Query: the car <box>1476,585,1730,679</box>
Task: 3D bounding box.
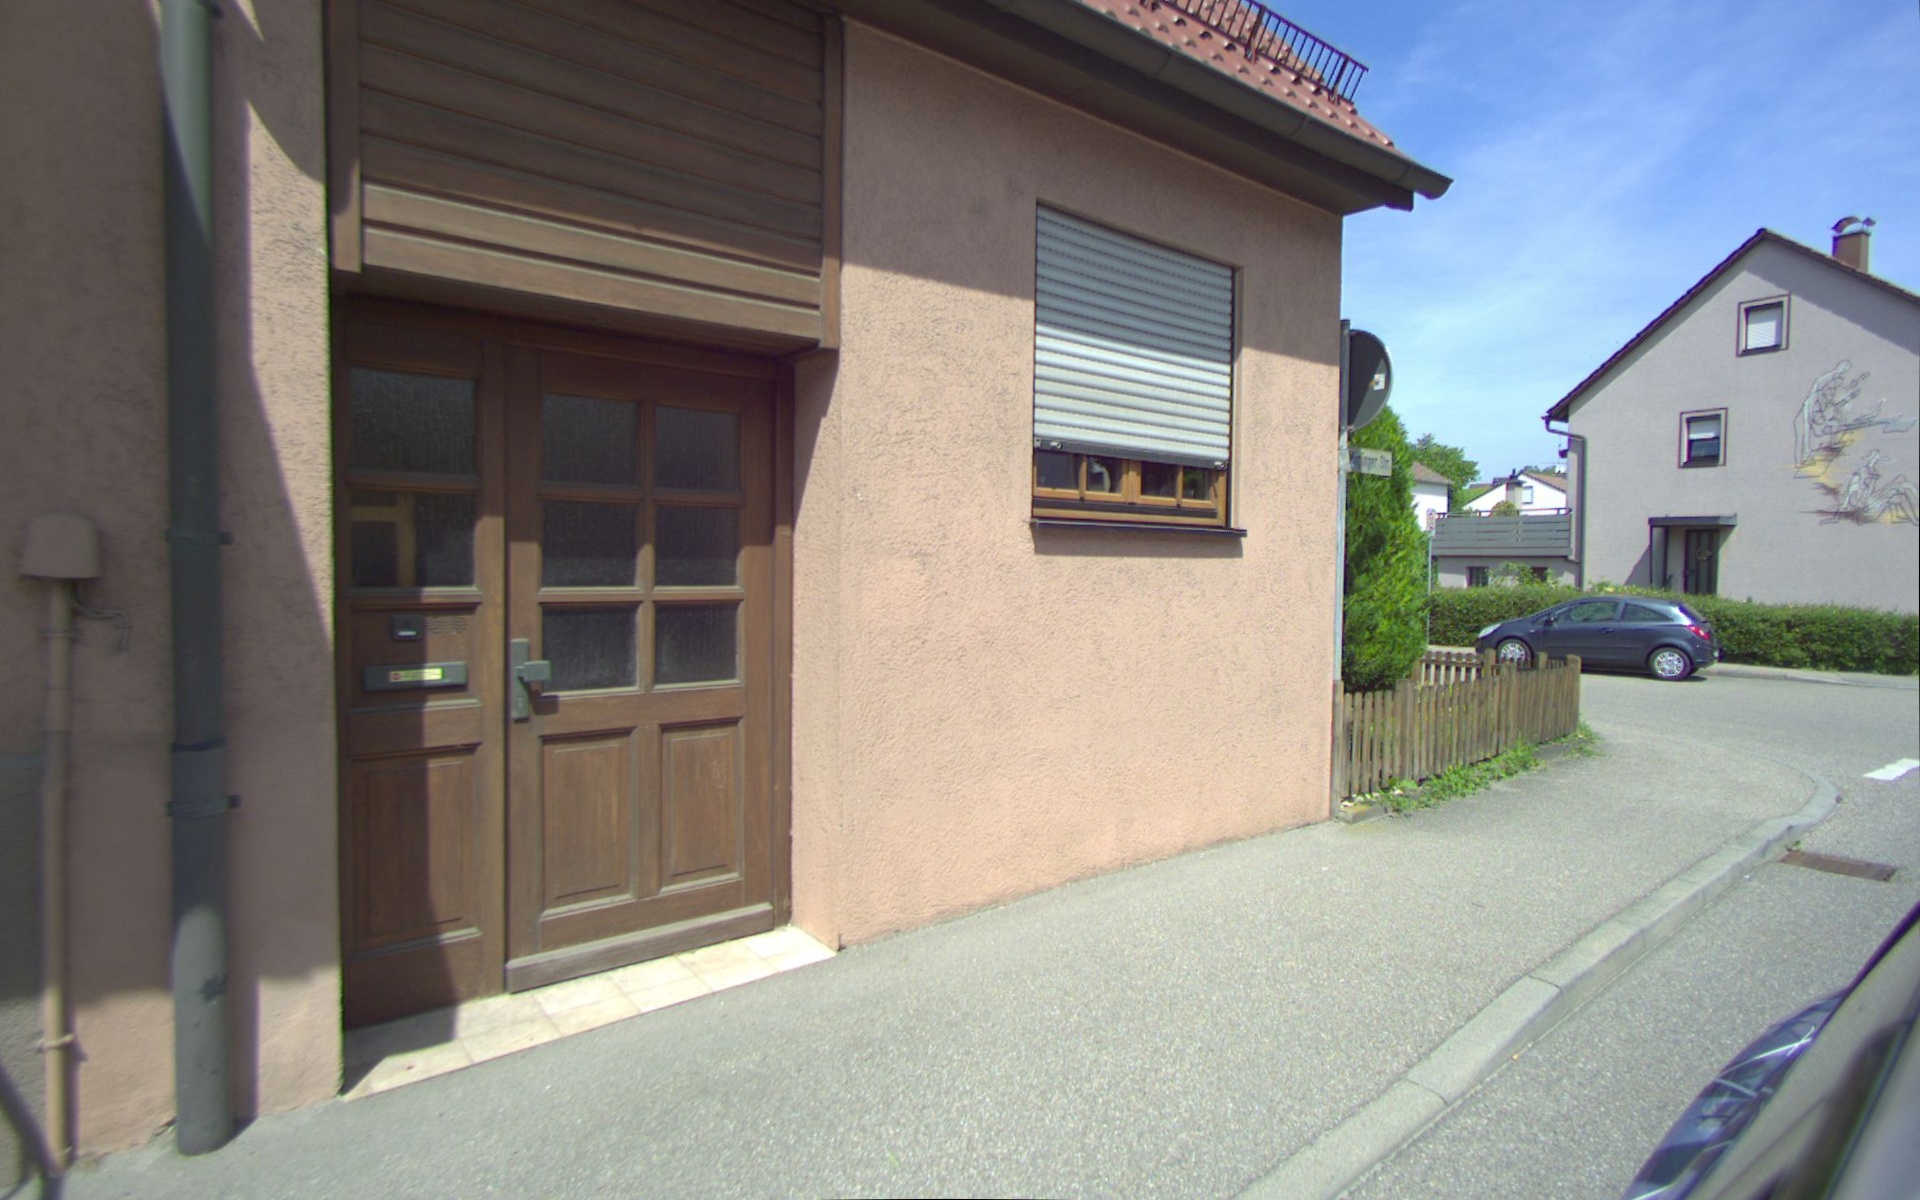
[{"bbox_3d":[12.150,0.519,19.250,3.803,1.506,1.861,3,2,43],"label":"car"}]
